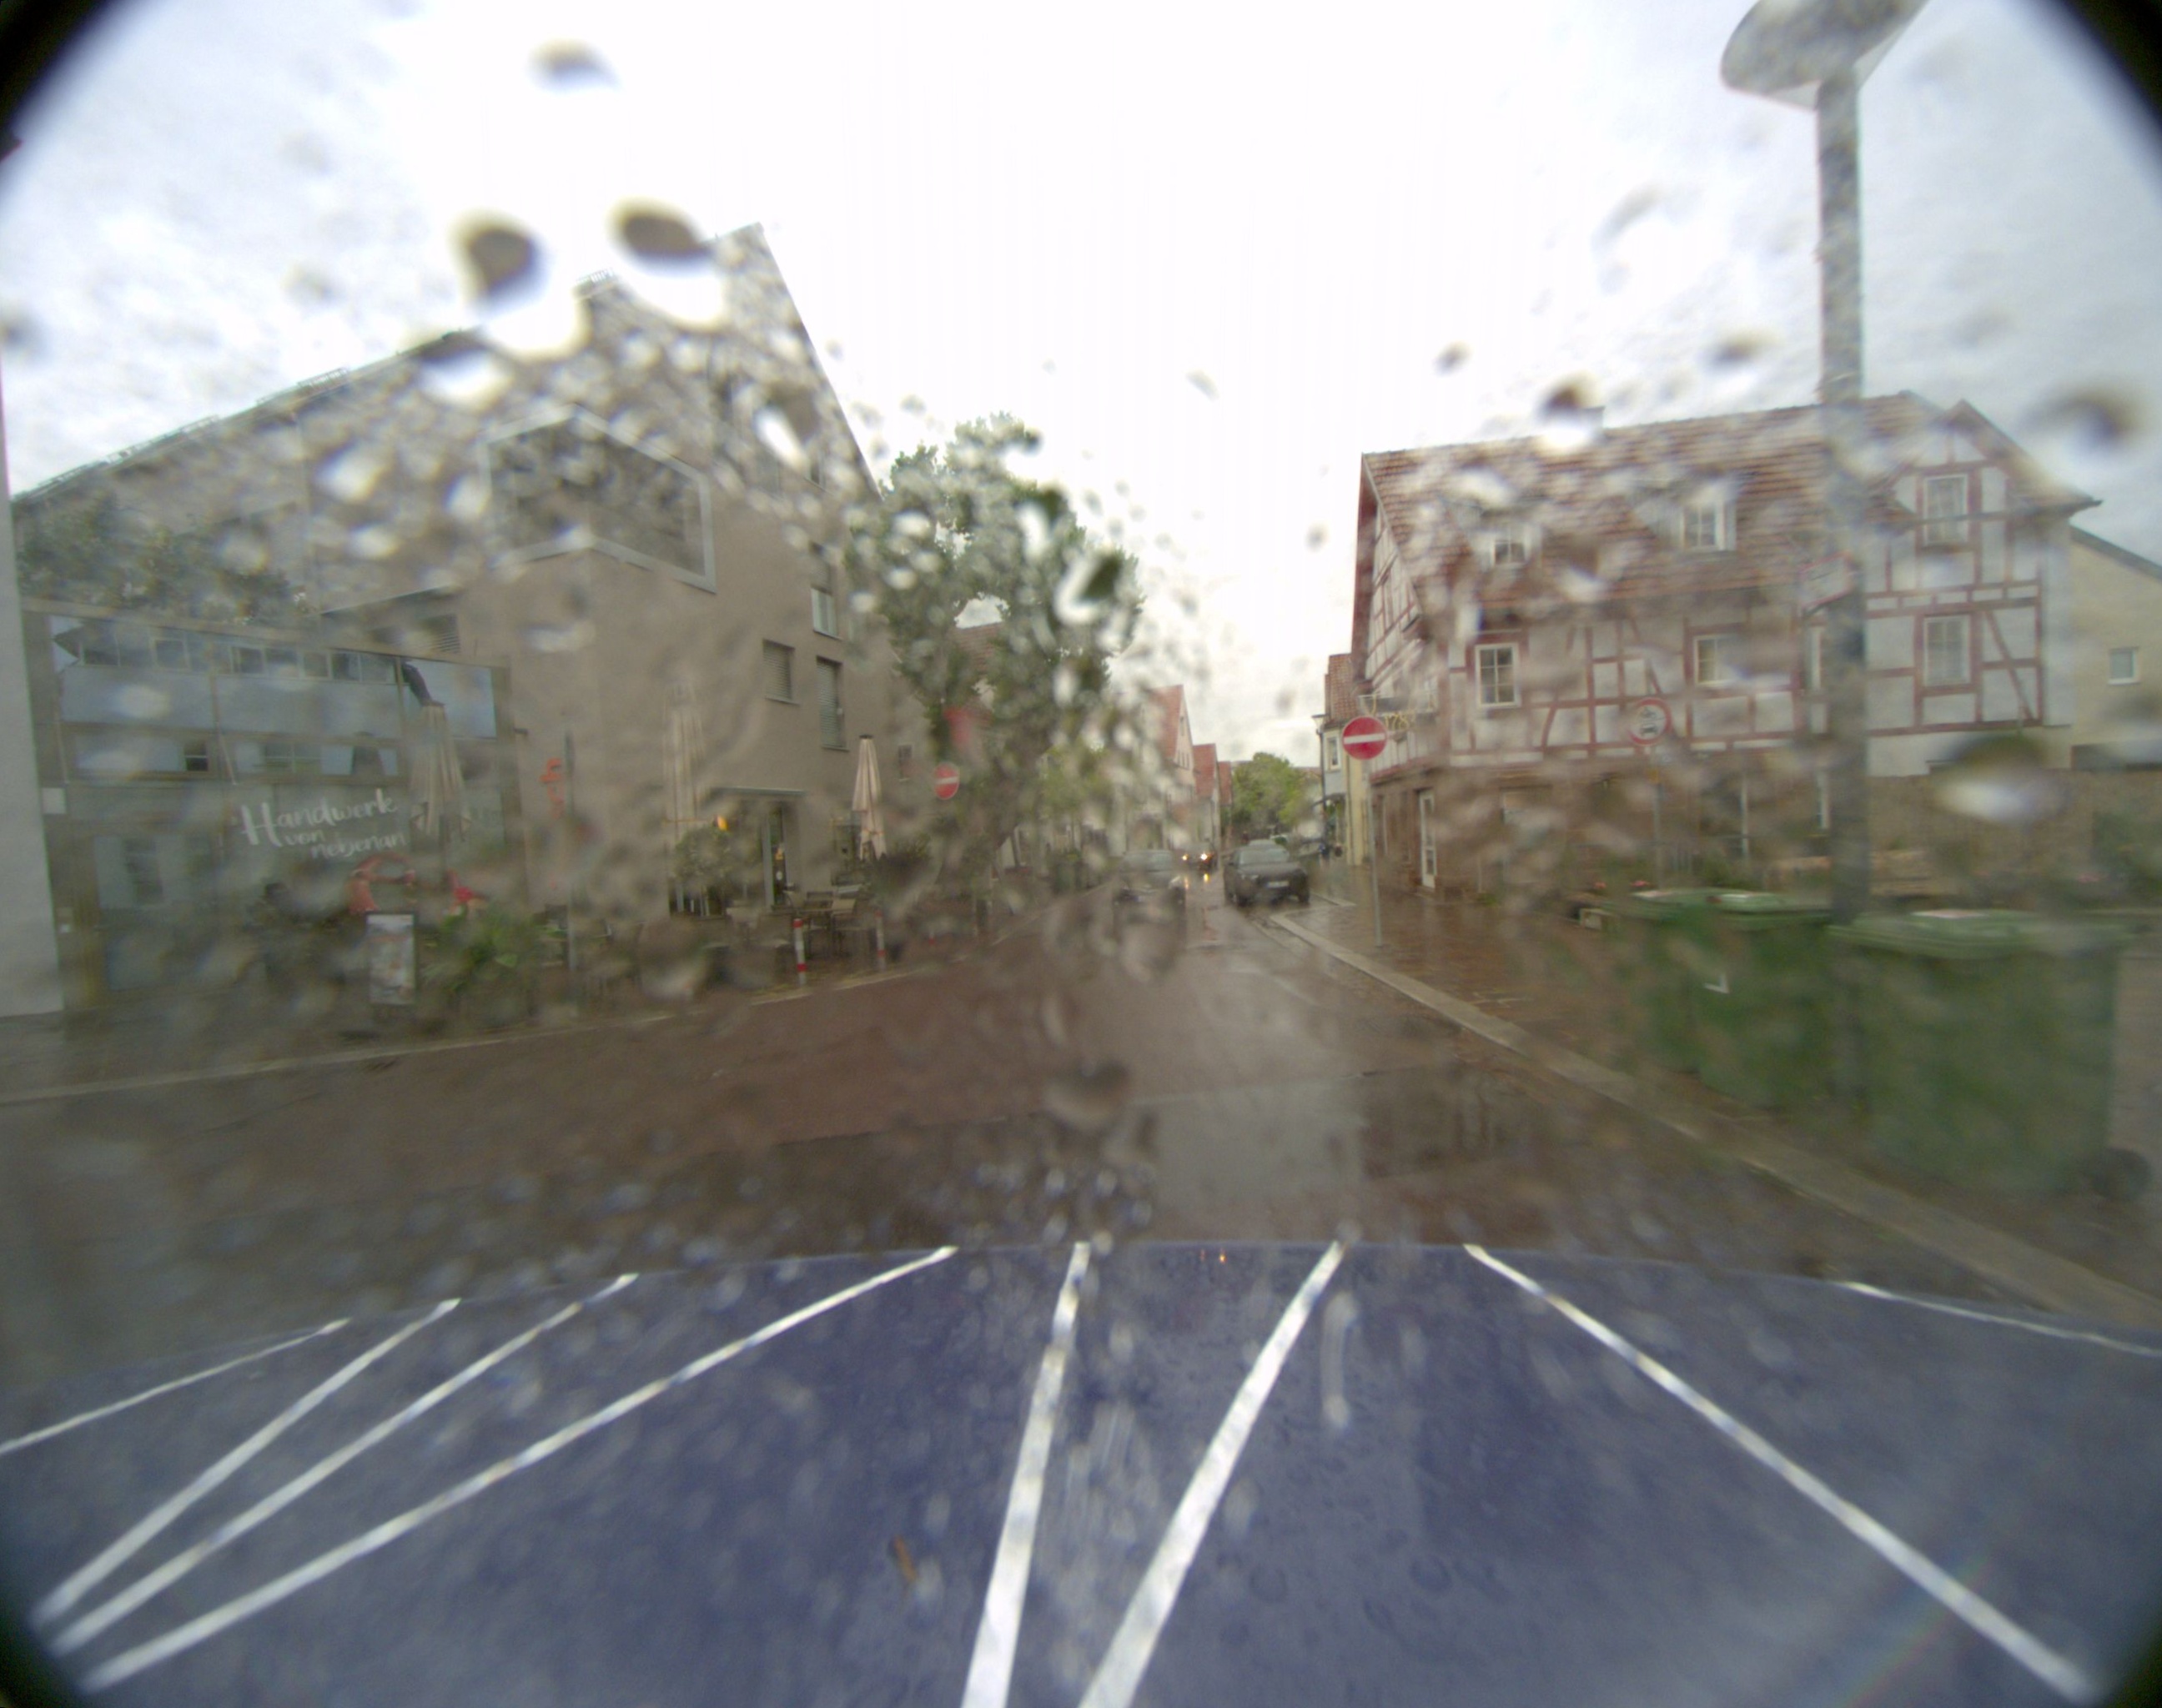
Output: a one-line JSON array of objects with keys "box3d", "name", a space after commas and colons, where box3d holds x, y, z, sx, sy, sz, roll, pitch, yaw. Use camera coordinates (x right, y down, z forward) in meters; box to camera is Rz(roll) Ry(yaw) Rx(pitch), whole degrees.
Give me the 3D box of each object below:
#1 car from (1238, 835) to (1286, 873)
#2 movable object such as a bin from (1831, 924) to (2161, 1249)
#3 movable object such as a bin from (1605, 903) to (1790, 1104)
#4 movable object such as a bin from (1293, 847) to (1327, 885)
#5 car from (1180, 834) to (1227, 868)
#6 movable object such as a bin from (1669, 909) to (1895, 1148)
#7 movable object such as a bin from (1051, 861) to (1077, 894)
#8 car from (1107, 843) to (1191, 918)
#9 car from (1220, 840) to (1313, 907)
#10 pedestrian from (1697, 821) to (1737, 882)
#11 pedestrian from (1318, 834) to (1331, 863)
[{"box3d": [8.725, -0.032, 36.584, 1.997, 1.520, 4.003, -5, 1, 14], "name": "car"}, {"box3d": [3.621, 0.869, 3.025, 0.660, 1.090, 0.613, -2, 2, 3], "name": "movable object such as a bin"}, {"box3d": [3.670, 0.867, 4.566, 0.660, 1.076, 0.552, -2, 2, 5], "name": "movable object such as a bin"}, {"box3d": [7.074, 0.361, 23.533, 0.834, 1.105, 0.919, -2, 2, 7], "name": "movable object such as a bin"}, {"box3d": [7.053, -0.187, 43.376, 1.996, 1.740, 4.004, -2, 1, 17], "name": "car"}, {"box3d": [3.627, 0.876, 3.978, 0.660, 1.108, 0.552, -2, 2, 5], "name": "movable object such as a bin"}, {"box3d": [-0.566, 0.790, 25.743, 0.765, 1.069, 0.538, -2, 2, 9], "name": "movable object such as a bin"}, {"box3d": [1.742, 0.551, 18.404, 1.735, 1.547, 3.846, -2, 1, 9], "name": "car"}, {"box3d": [4.758, 0.426, 19.971, 1.693, 1.477, 4.000, -3, 1, 5], "name": "car"}, {"box3d": [12.400, -0.054, 14.821, 0.412, 1.148, 0.424, -2, 1, 8], "name": "pedestrian"}, {"box3d": [11.136, -0.259, 34.757, 0.454, 1.300, 0.518, -2, 1, 15], "name": "pedestrian"}]
